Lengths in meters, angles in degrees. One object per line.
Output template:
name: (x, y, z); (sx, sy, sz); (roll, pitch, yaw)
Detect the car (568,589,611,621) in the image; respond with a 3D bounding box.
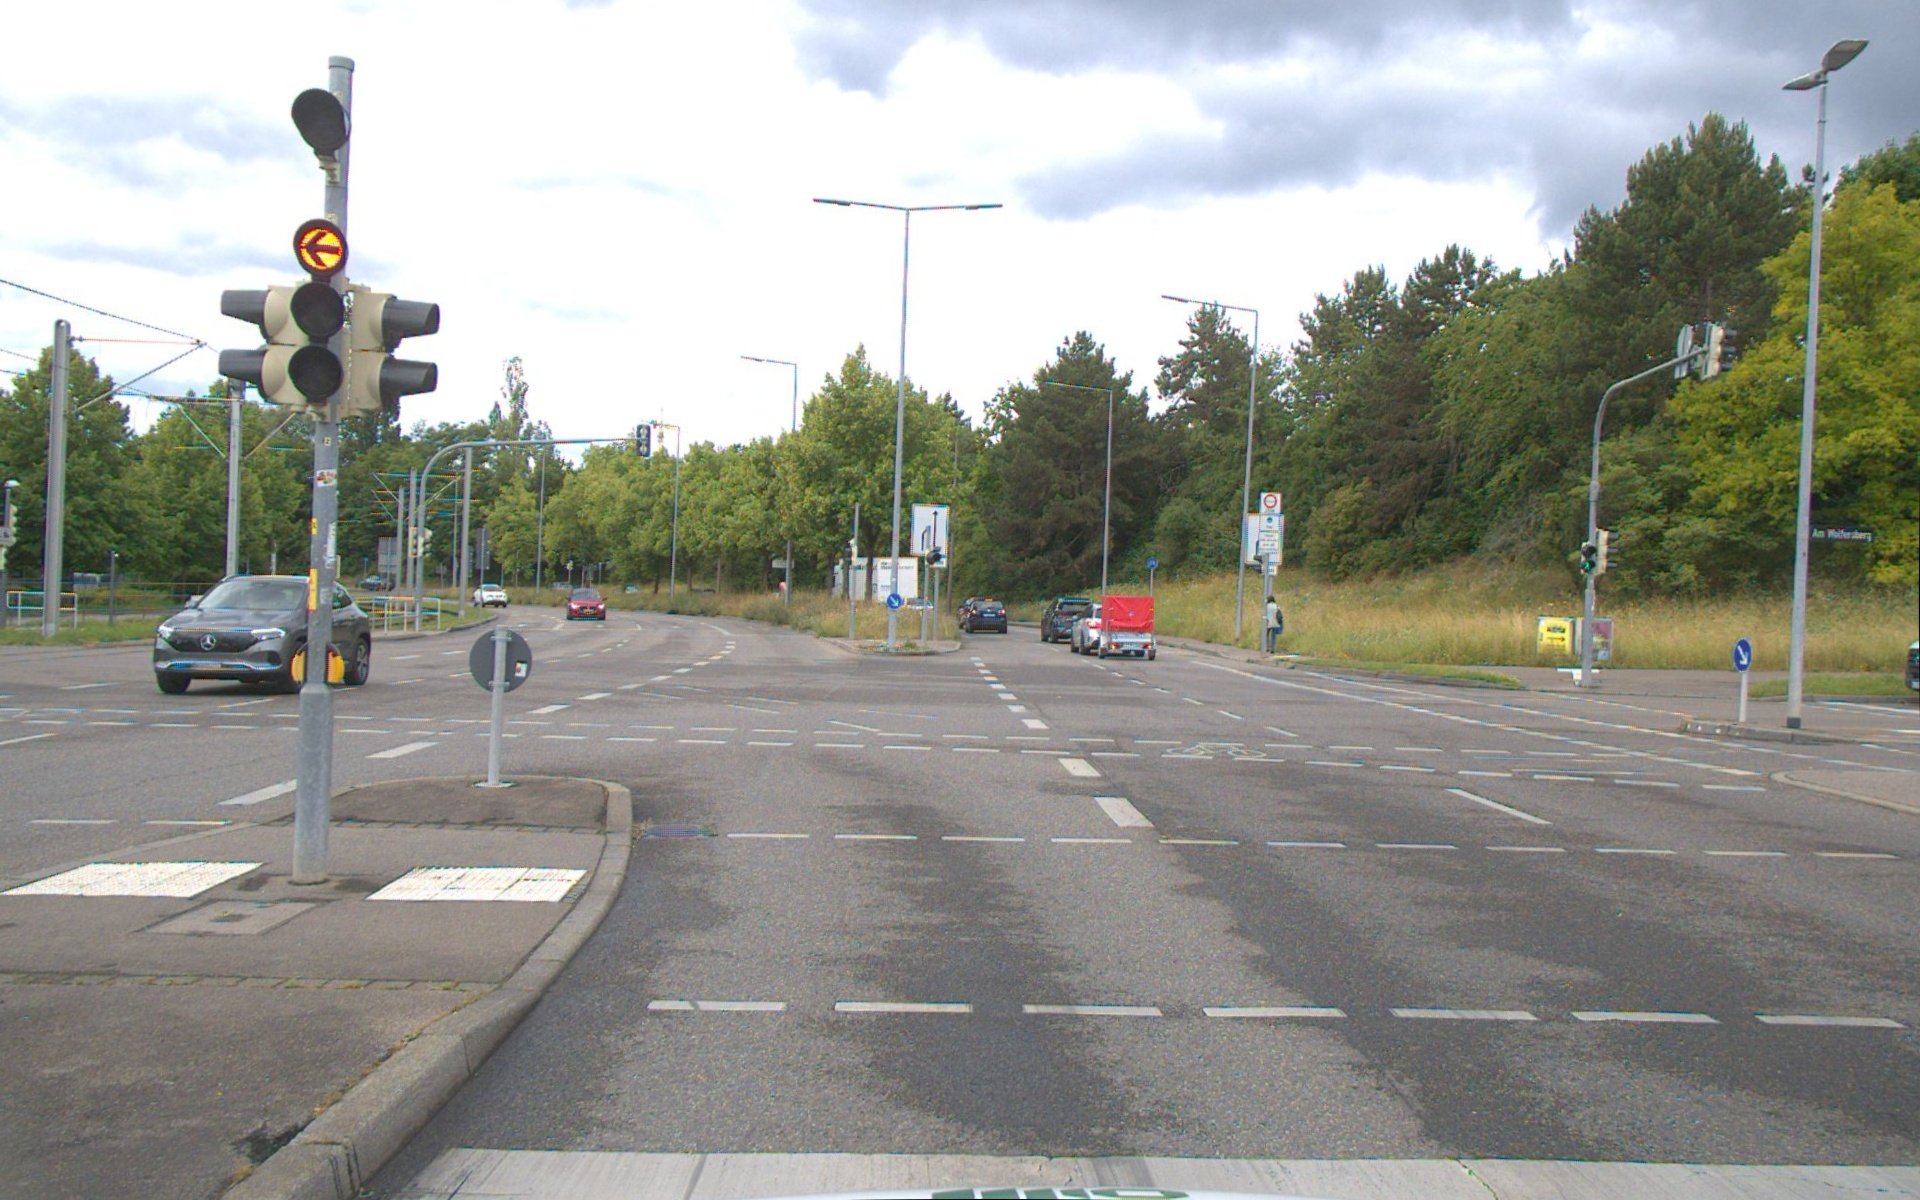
car: (-17.542, 0.202, 78.212); (1.752, 1.468, 4.406); (0, 0, -16)

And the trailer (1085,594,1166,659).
trailer: (4.355, 0.674, 43.850); (1.729, 1.644, 3.043); (1, 0, -2)

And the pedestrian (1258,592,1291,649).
pedestrian: (9.249, 0.600, 48.664); (0.797, 1.656, 0.790); (1, 0, -1)

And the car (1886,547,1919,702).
car: (20.339, 0.466, 30.097); (5.772, 2.830, 2.135); (0, 0, -1)

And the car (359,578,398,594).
car: (-58.359, -1.431, 166.010); (3.944, 1.573, 1.777); (1, 0, 36)

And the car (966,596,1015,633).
car: (1.358, 0.646, 74.703); (1.743, 1.573, 4.020); (1, 0, -5)

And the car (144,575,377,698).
car: (-9.797, 0.459, 23.532); (1.743, 1.573, 4.222); (1, 0, -4)

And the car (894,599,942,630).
car: (-2.289, 0.744, 89.286); (1.748, 1.573, 4.010); (1, 0, -14)

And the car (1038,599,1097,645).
car: (3.886, 0.773, 60.299); (1.742, 1.573, 4.023); (1, 0, -2)

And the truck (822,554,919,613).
truck: (-5.667, -1.038, 102.134); (2.700, 3.387, 11.337); (1, 0, -21)

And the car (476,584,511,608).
car: (-32.960, -0.263, 116.899); (1.805, 1.657, 4.393); (0, 0, -24)

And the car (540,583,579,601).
car: (-36.097, -0.712, 149.024); (1.770, 1.573, 3.961); (1, 1, -43)

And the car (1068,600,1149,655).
car: (4.222, 0.751, 47.591); (1.742, 1.446, 4.457); (1, 0, -2)
